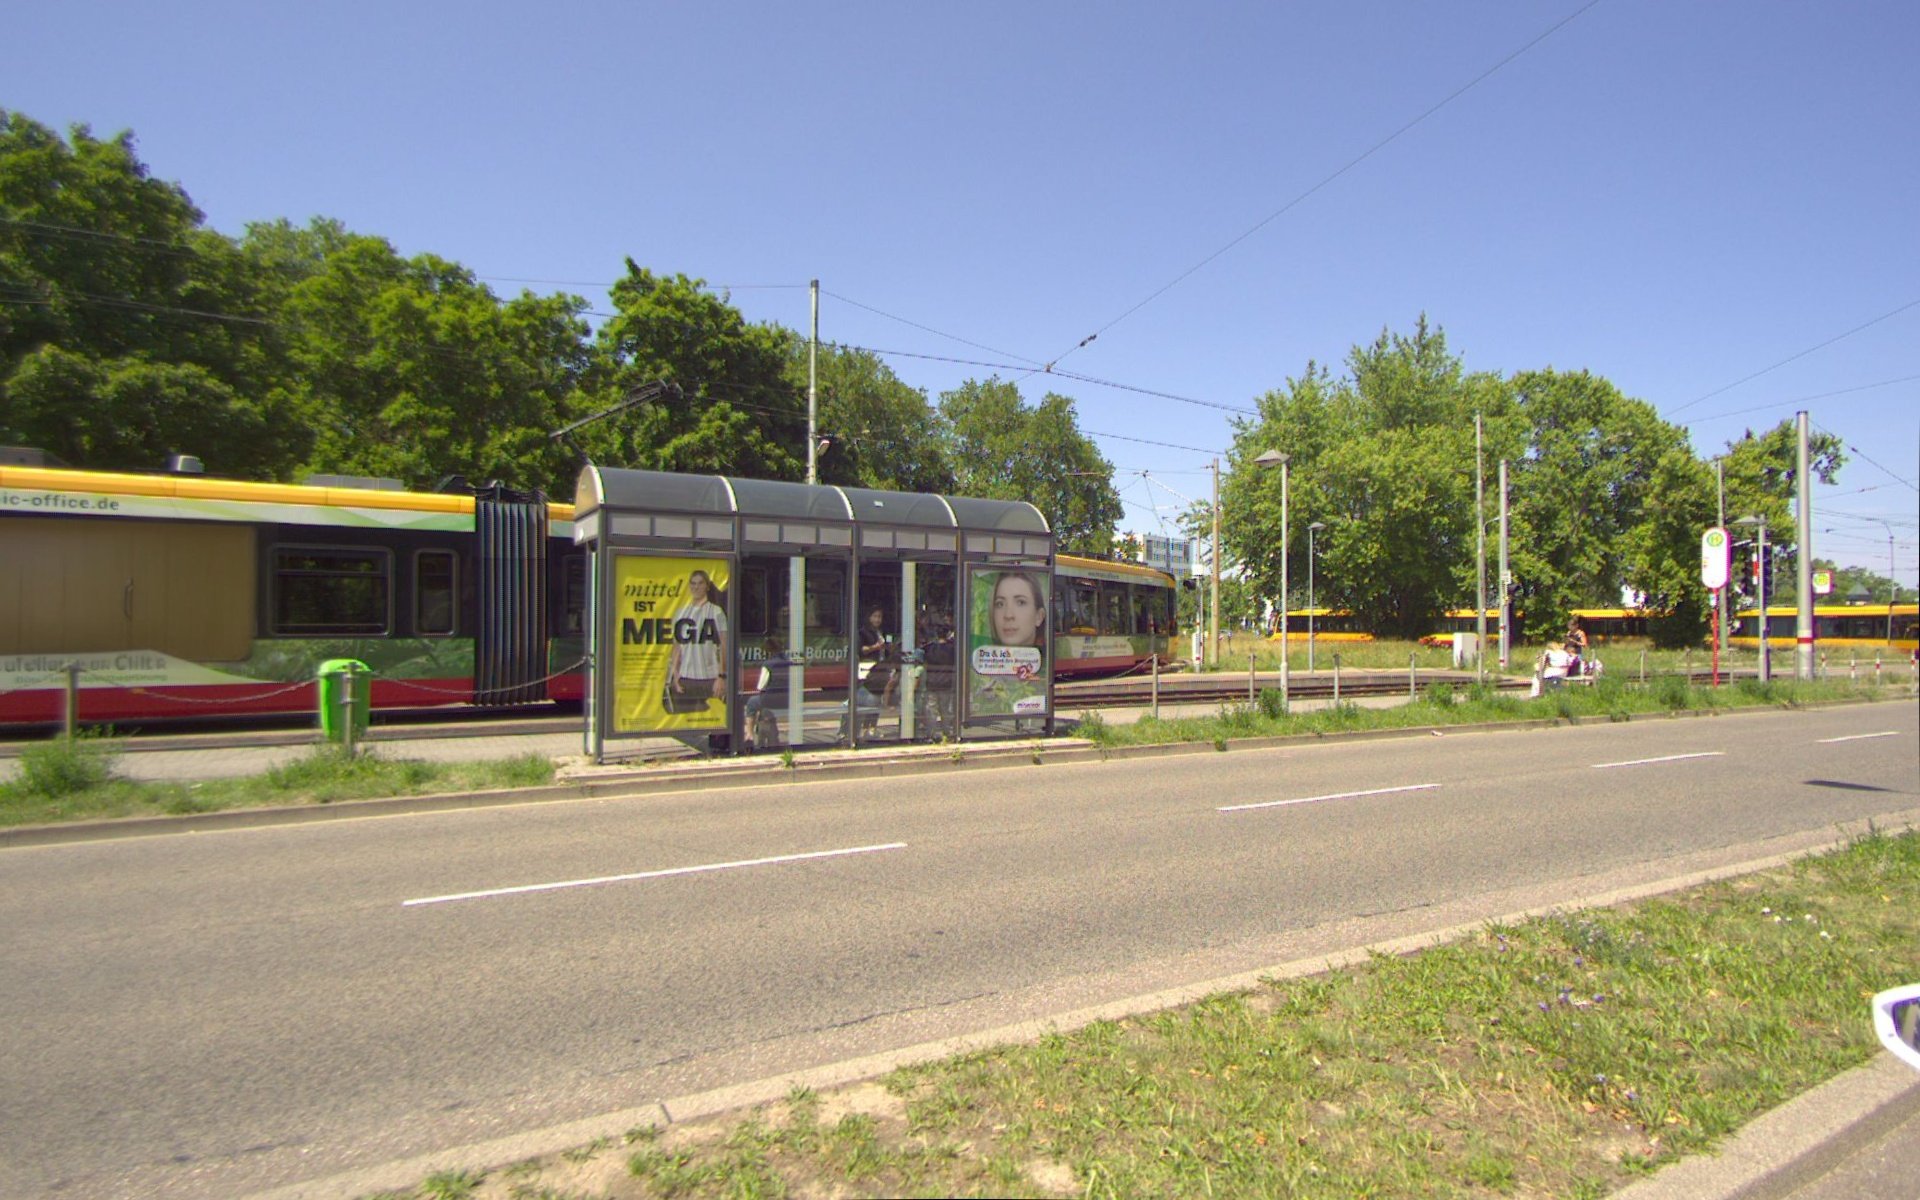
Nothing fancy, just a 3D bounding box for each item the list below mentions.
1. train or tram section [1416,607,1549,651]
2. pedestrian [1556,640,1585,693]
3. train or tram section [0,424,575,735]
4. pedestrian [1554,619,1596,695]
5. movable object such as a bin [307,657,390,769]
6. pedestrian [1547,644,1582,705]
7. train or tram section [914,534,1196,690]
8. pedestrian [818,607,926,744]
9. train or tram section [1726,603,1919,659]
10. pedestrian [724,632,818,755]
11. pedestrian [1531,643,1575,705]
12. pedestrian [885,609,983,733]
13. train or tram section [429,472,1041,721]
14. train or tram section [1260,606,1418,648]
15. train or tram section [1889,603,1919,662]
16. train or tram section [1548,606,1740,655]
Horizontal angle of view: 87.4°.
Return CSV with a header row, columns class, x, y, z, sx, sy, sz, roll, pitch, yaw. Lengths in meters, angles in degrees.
class,x,y,z,sx,sy,sz,roll,pitch,yaw
train or tram section,45.708,2.452,88.238,10.024,3.512,3.046,1,0,21
pedestrian,12.764,1.385,20.992,0.373,1.072,0.380,1,0,-32
train or tram section,-12.498,-0.259,12.937,13.746,3.673,3.026,1,0,-33
pedestrian,13.115,1.207,21.420,0.576,1.586,0.532,1,0,-31
movable object such as a bin,-5.754,1.044,9.451,0.638,0.991,0.478,1,-1,-34
pedestrian,12.473,1.530,20.728,0.396,1.205,0.491,1,0,-31
train or tram section,3.432,0.343,29.682,3.001,3.673,12.421,1,0,32
pedestrian,-1.075,0.877,12.204,1.015,1.567,0.869,1,0,-32
train or tram section,59.586,1.974,69.534,2.987,3.512,12.747,1,0,-2
pedestrian,-2.129,1.018,11.282,0.831,1.300,0.697,1,0,-32
pedestrian,12.074,1.500,20.468,0.530,1.205,0.578,1,0,-30
pedestrian,-0.355,0.914,13.458,0.975,1.567,0.925,1,0,-32
train or tram section,-3.560,0.027,20.321,12.371,3.673,3.013,1,0,-45
train or tram section,34.203,2.411,90.982,13.000,3.512,3.047,1,0,3
train or tram section,58.045,1.952,57.772,2.986,3.512,10.223,1,0,20
train or tram section,55.299,2.366,81.762,3.017,3.512,12.619,1,0,-36
